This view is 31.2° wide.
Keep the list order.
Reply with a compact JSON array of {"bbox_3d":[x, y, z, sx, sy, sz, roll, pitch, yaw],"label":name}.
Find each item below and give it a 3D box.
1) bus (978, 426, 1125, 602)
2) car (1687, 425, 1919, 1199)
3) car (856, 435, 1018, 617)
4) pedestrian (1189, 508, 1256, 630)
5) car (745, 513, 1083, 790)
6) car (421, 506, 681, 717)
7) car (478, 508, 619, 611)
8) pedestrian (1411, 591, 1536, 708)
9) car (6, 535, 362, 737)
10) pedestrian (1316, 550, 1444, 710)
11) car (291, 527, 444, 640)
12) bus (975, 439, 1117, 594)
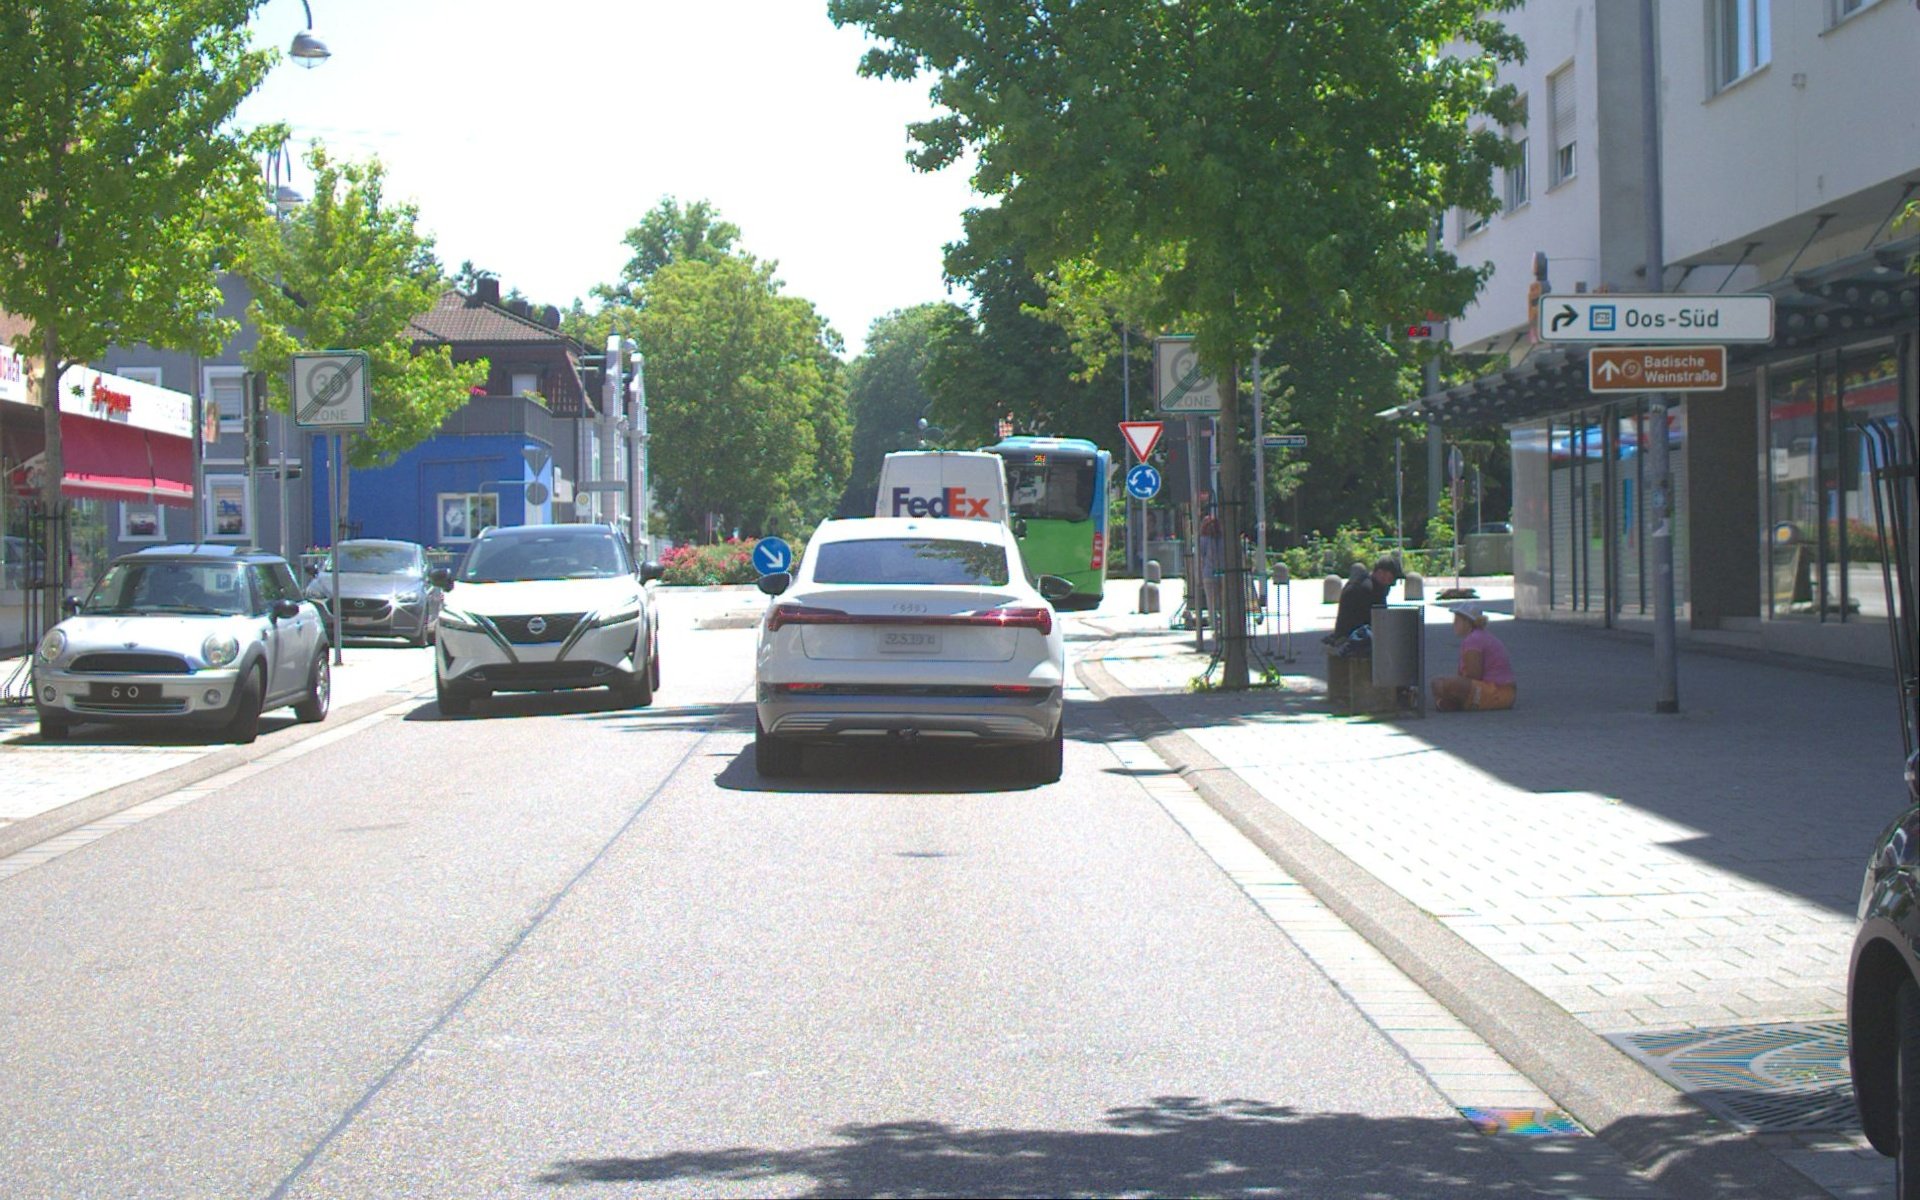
[{"bbox_3d":[1.805,-1.637,67.318,2.661,3.210,7.301,1,1,2],"label":"bus"},{"bbox_3d":[2.721,0.491,5.499,1.855,1.669,4.537,-3,1,-3],"label":"car"},{"bbox_3d":[-0.341,-1.037,49.352,2.156,2.433,5.284,1,1,-1],"label":"car"},{"bbox_3d":[3.293,-0.390,43.134,0.580,1.497,0.719,-1,1,-18],"label":"pedestrian"},{"bbox_3d":[-0.346,0.273,22.421,1.993,1.627,4.000,1,1,-2],"label":"car"},{"bbox_3d":[-3.576,0.063,30.717,1.856,1.686,4.151,-2,1,-1],"label":"car"},{"bbox_3d":[-7.383,-0.727,61.387,1.864,1.751,4.001,1,1,-16],"label":"car"},{"bbox_3d":[3.995,0.378,26.793,0.906,0.876,0.648,-1,1,4],"label":"pedestrian"},{"bbox_3d":[-6.074,0.230,27.411,1.752,1.448,4.401,1,1,1],"label":"car"},{"bbox_3d":[3.326,0.231,27.258,0.906,1.232,0.648,-1,1,-1],"label":"pedestrian"},{"bbox_3d":[-8.320,-0.259,48.561,1.837,1.490,4.001,-1,1,-6],"label":"car"},{"bbox_3d":[1.791,-1.782,74.578,2.660,3.198,7.452,0,1,-2],"label":"bus"}]
